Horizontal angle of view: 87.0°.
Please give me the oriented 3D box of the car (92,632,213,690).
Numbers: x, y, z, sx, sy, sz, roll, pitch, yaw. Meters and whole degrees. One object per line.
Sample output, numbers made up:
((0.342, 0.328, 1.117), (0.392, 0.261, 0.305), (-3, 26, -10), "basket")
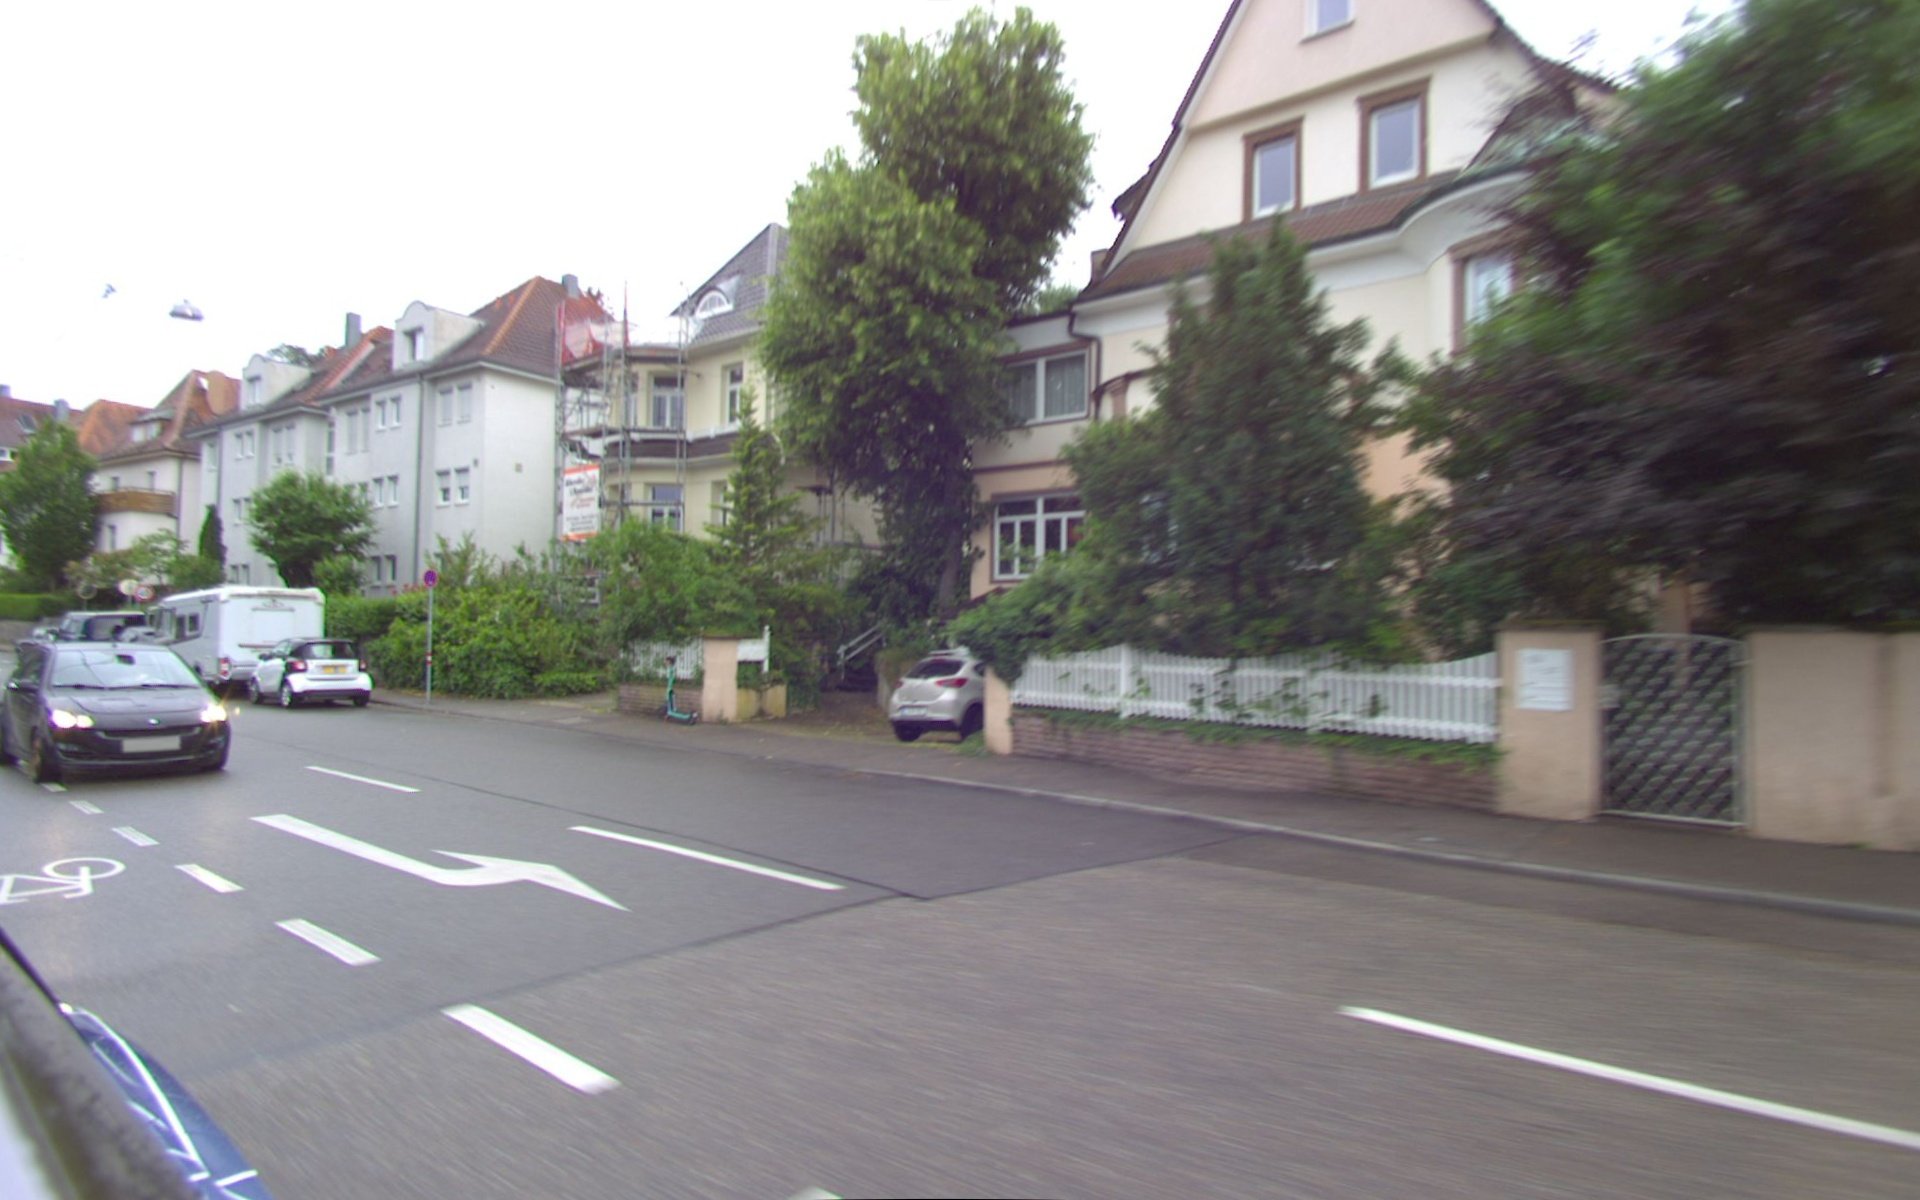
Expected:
((-24.621, 1.803, 30.788), (4.740, 1.607, 1.814), (-1, -3, 38), "car")

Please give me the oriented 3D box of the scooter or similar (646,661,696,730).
((-5.360, 1.749, 18.761), (1.141, 1.197, 0.397), (-2, -2, 45), "scooter or similar")

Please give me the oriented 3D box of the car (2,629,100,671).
((-34.417, 1.849, 38.292), (4.498, 1.383, 1.662), (0, -1, 33), "car")

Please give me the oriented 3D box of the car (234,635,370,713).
((-14.965, 1.624, 22.981), (3.313, 1.607, 1.579), (-1, -3, 38), "car")

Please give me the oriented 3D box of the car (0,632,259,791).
((-9.748, 1.132, 11.640), (3.679, 1.475, 1.874), (-1, -2, 40), "car")

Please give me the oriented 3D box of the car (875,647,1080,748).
((0.381, 1.664, 17.548), (1.708, 1.553, 3.543), (-4, -7, 40), "car")

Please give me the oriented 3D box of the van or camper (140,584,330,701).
((-19.059, 1.064, 26.481), (6.108, 2.746, 2.325), (-1, -2, 38), "van or camper")

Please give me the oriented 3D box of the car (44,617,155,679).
((-29.740, 1.580, 34.935), (4.570, 2.003, 1.816), (-1, -1, 35), "car")
